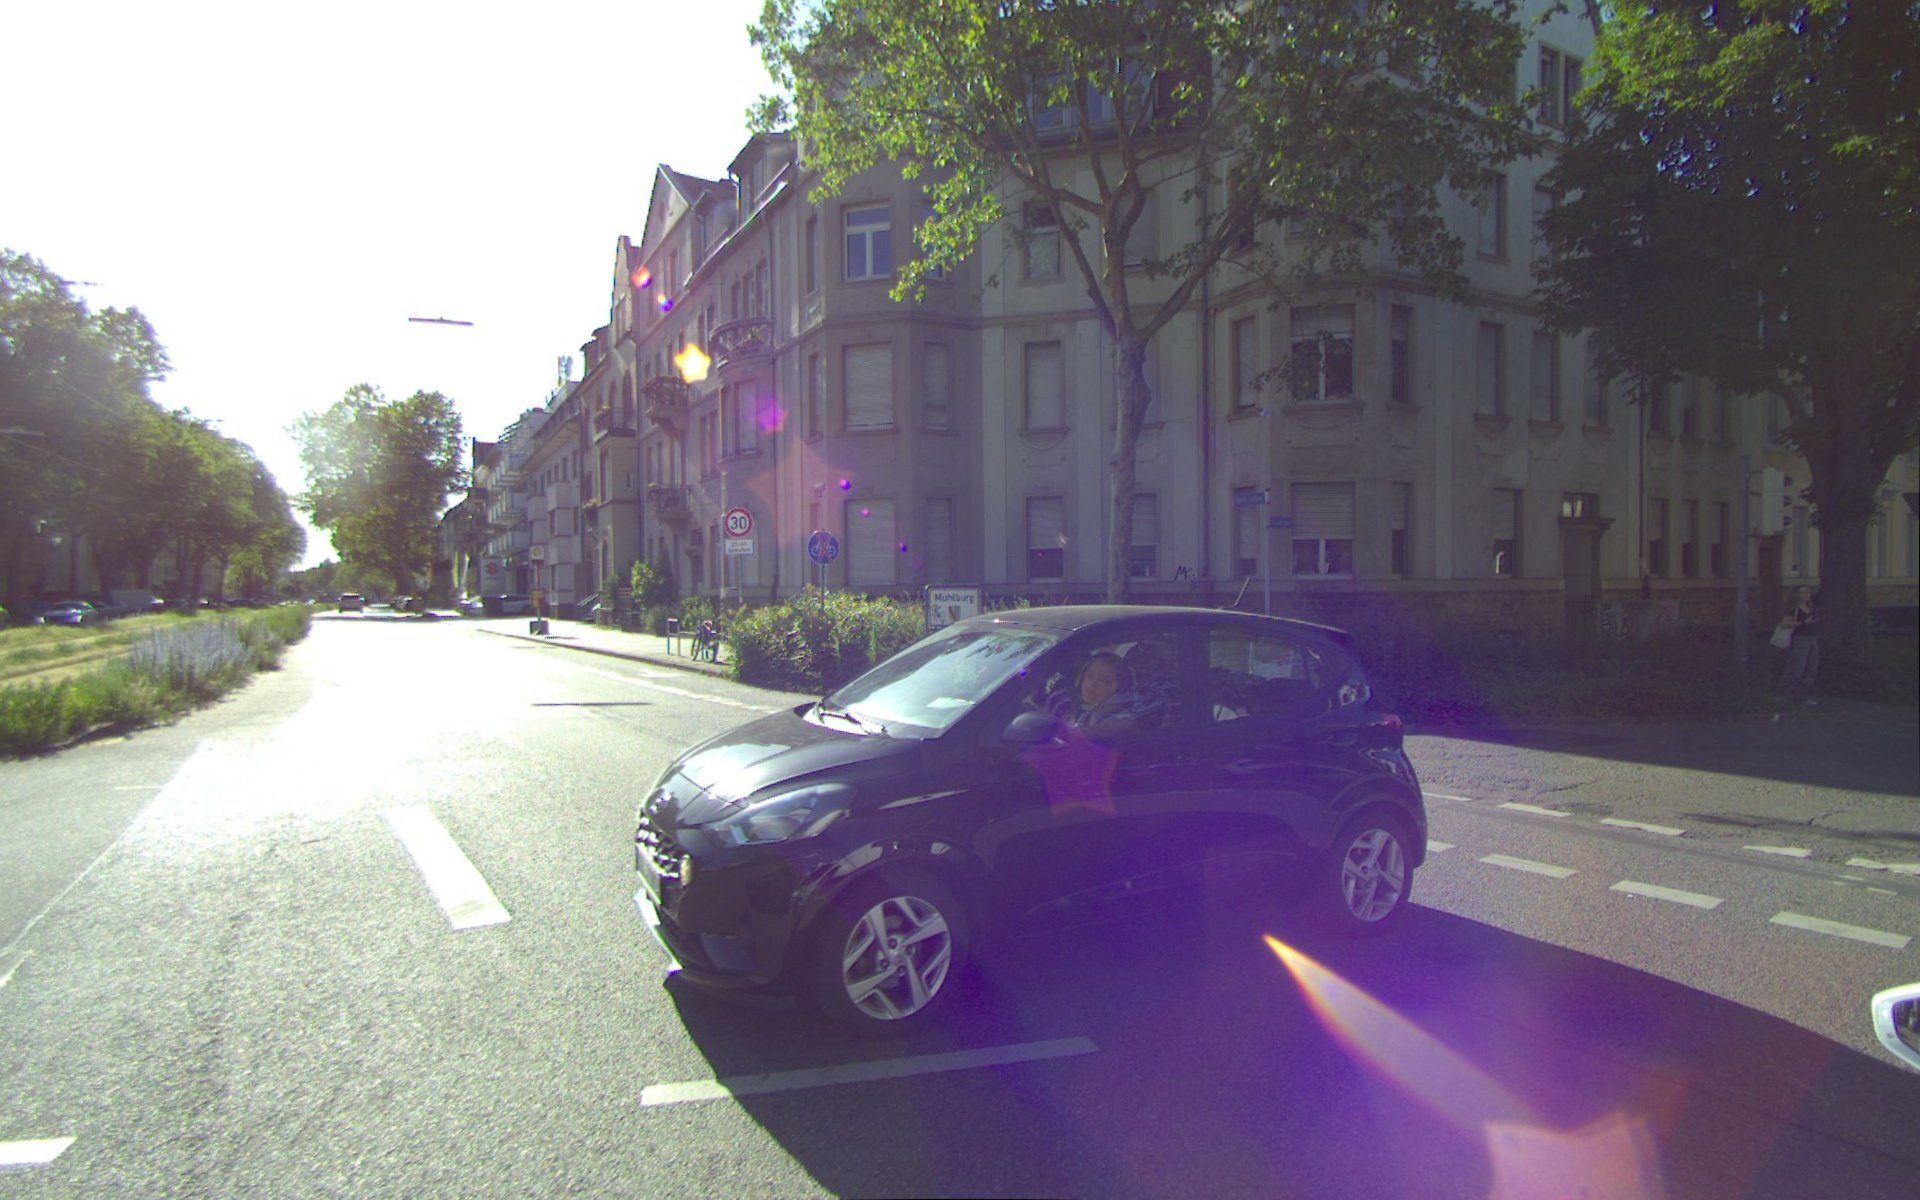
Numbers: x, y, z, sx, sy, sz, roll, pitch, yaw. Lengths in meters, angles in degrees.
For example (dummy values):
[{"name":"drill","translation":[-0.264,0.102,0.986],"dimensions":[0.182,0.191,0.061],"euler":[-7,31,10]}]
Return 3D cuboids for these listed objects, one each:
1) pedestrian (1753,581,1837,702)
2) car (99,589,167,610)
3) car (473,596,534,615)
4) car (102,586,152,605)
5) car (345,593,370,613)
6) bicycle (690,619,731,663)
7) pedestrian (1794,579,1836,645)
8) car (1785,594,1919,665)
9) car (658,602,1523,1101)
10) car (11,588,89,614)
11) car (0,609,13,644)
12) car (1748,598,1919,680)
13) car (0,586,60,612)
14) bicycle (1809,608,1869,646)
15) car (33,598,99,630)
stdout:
[{"name":"pedestrian","translation":[12.121,0.584,14.592],"dimensions":[0.669,1.704,0.693],"euler":[-1,1,-17]},{"name":"car","translation":[-77.856,-0.079,94.648],"dimensions":[1.810,1.729,4.589],"euler":[1,3,22]},{"name":"car","translation":[-33.176,0.384,73.008],"dimensions":[3.953,1.325,1.530],"euler":[-1,1,-31]},{"name":"car","translation":[-86.785,-0.500,104.631],"dimensions":[1.821,1.729,3.783],"euler":[3,4,45]},{"name":"car","translation":[-57.137,0.291,95.285],"dimensions":[1.962,1.861,4.082],"euler":[-1,1,-30]},{"name":"bicycle","translation":[-5.620,0.912,22.574],"dimensions":[0.491,0.917,1.426],"euler":[-1,1,-31]},{"name":"pedestrian","translation":[21.945,0.298,25.783],"dimensions":[0.881,1.680,0.459],"euler":[-1,1,-20]},{"name":"car","translation":[20.153,0.606,21.288],"dimensions":[1.598,1.434,3.859],"euler":[-1,1,-33]},{"name":"car","translation":[0.672,0.777,4.696],"dimensions":[3.759,1.484,1.654],"euler":[-1,1,-27]},{"name":"car","translation":[-67.578,0.041,74.656],"dimensions":[1.810,1.729,3.807],"euler":[1,3,20]},{"name":"car","translation":[-39.979,1.101,40.689],"dimensions":[1.575,1.395,3.671],"euler":[-1,1,-31]},{"name":"car","translation":[18.014,0.724,19.596],"dimensions":[1.595,1.495,3.867],"euler":[-1,0,-28]},{"name":"car","translation":[-69.839,-0.077,74.719],"dimensions":[1.810,1.729,3.807],"euler":[1,3,20]},{"name":"bicycle","translation":[22.213,0.674,25.391],"dimensions":[1.573,0.924,0.471],"euler":[-1,1,-21]},{"name":"car","translation":[-48.561,0.736,54.648],"dimensions":[1.798,1.612,4.212],"euler":[-1,1,-30]}]
